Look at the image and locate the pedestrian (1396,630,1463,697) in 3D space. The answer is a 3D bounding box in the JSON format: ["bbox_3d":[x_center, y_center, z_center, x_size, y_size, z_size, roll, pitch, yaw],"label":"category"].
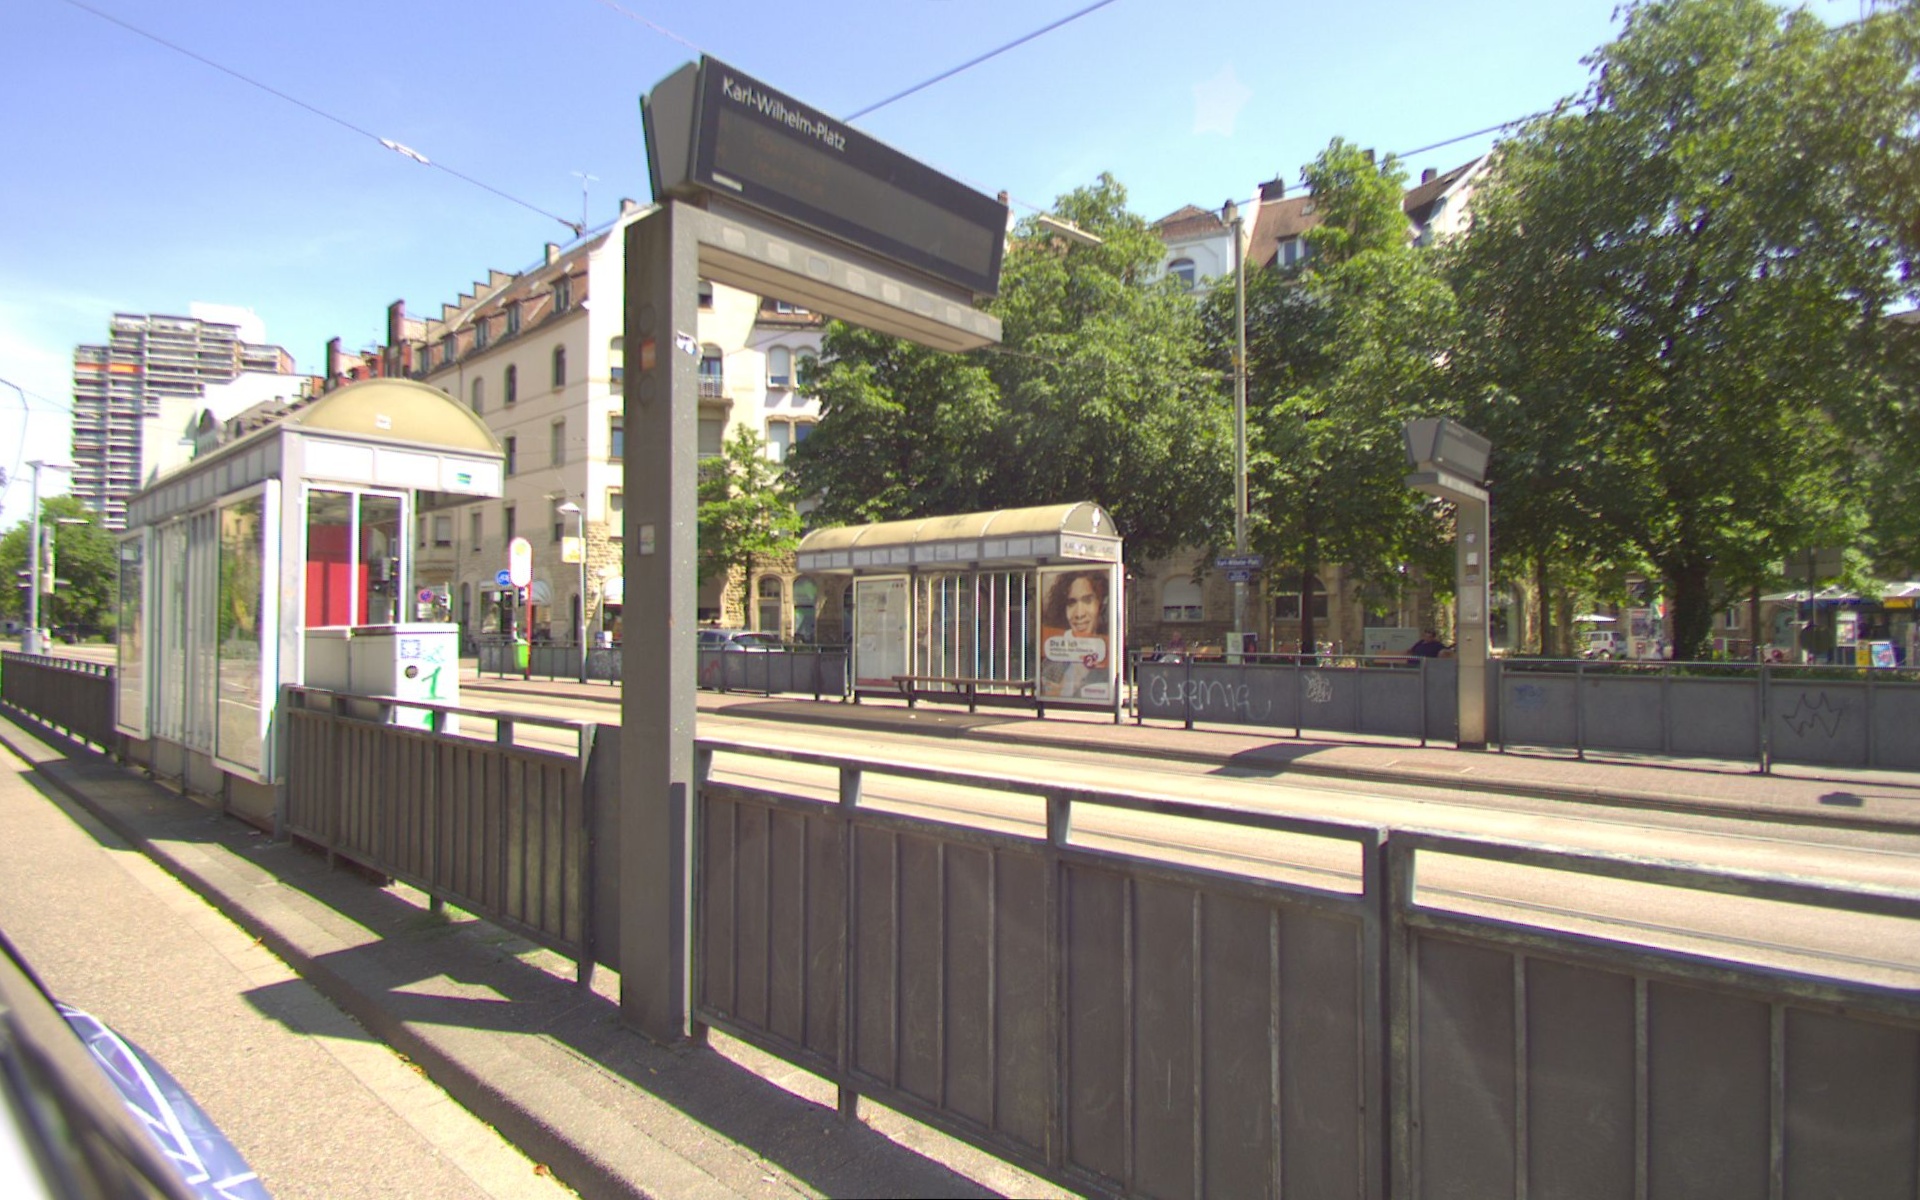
[{"bbox_3d":[9.291,1.235,20.040,0.852,1.253,0.939,-1,0,-43],"label":"pedestrian"}]

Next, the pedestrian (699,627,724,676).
[{"bbox_3d":[-7.975,1.647,32.494,0.473,1.563,0.586,-2,-3,39],"label":"pedestrian"}]

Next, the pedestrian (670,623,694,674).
[{"bbox_3d":[-9.127,1.577,33.253,0.473,1.659,0.586,-2,-3,41],"label":"pedestrian"}]

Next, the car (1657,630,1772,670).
[{"bbox_3d":[35.795,2.339,48.103,1.736,1.721,3.998,-1,0,-33],"label":"car"}]

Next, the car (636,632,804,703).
[{"bbox_3d":[-5.590,1.481,23.361,3.998,1.404,1.789,-1,0,41],"label":"car"}]

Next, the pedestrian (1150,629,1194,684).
[{"bbox_3d":[5.101,1.349,24.315,0.930,1.253,0.860,-1,0,17],"label":"pedestrian"}]

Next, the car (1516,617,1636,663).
[{"bbox_3d":[26.726,1.694,44.010,1.966,1.803,4.011,-1,0,-33],"label":"car"}]
